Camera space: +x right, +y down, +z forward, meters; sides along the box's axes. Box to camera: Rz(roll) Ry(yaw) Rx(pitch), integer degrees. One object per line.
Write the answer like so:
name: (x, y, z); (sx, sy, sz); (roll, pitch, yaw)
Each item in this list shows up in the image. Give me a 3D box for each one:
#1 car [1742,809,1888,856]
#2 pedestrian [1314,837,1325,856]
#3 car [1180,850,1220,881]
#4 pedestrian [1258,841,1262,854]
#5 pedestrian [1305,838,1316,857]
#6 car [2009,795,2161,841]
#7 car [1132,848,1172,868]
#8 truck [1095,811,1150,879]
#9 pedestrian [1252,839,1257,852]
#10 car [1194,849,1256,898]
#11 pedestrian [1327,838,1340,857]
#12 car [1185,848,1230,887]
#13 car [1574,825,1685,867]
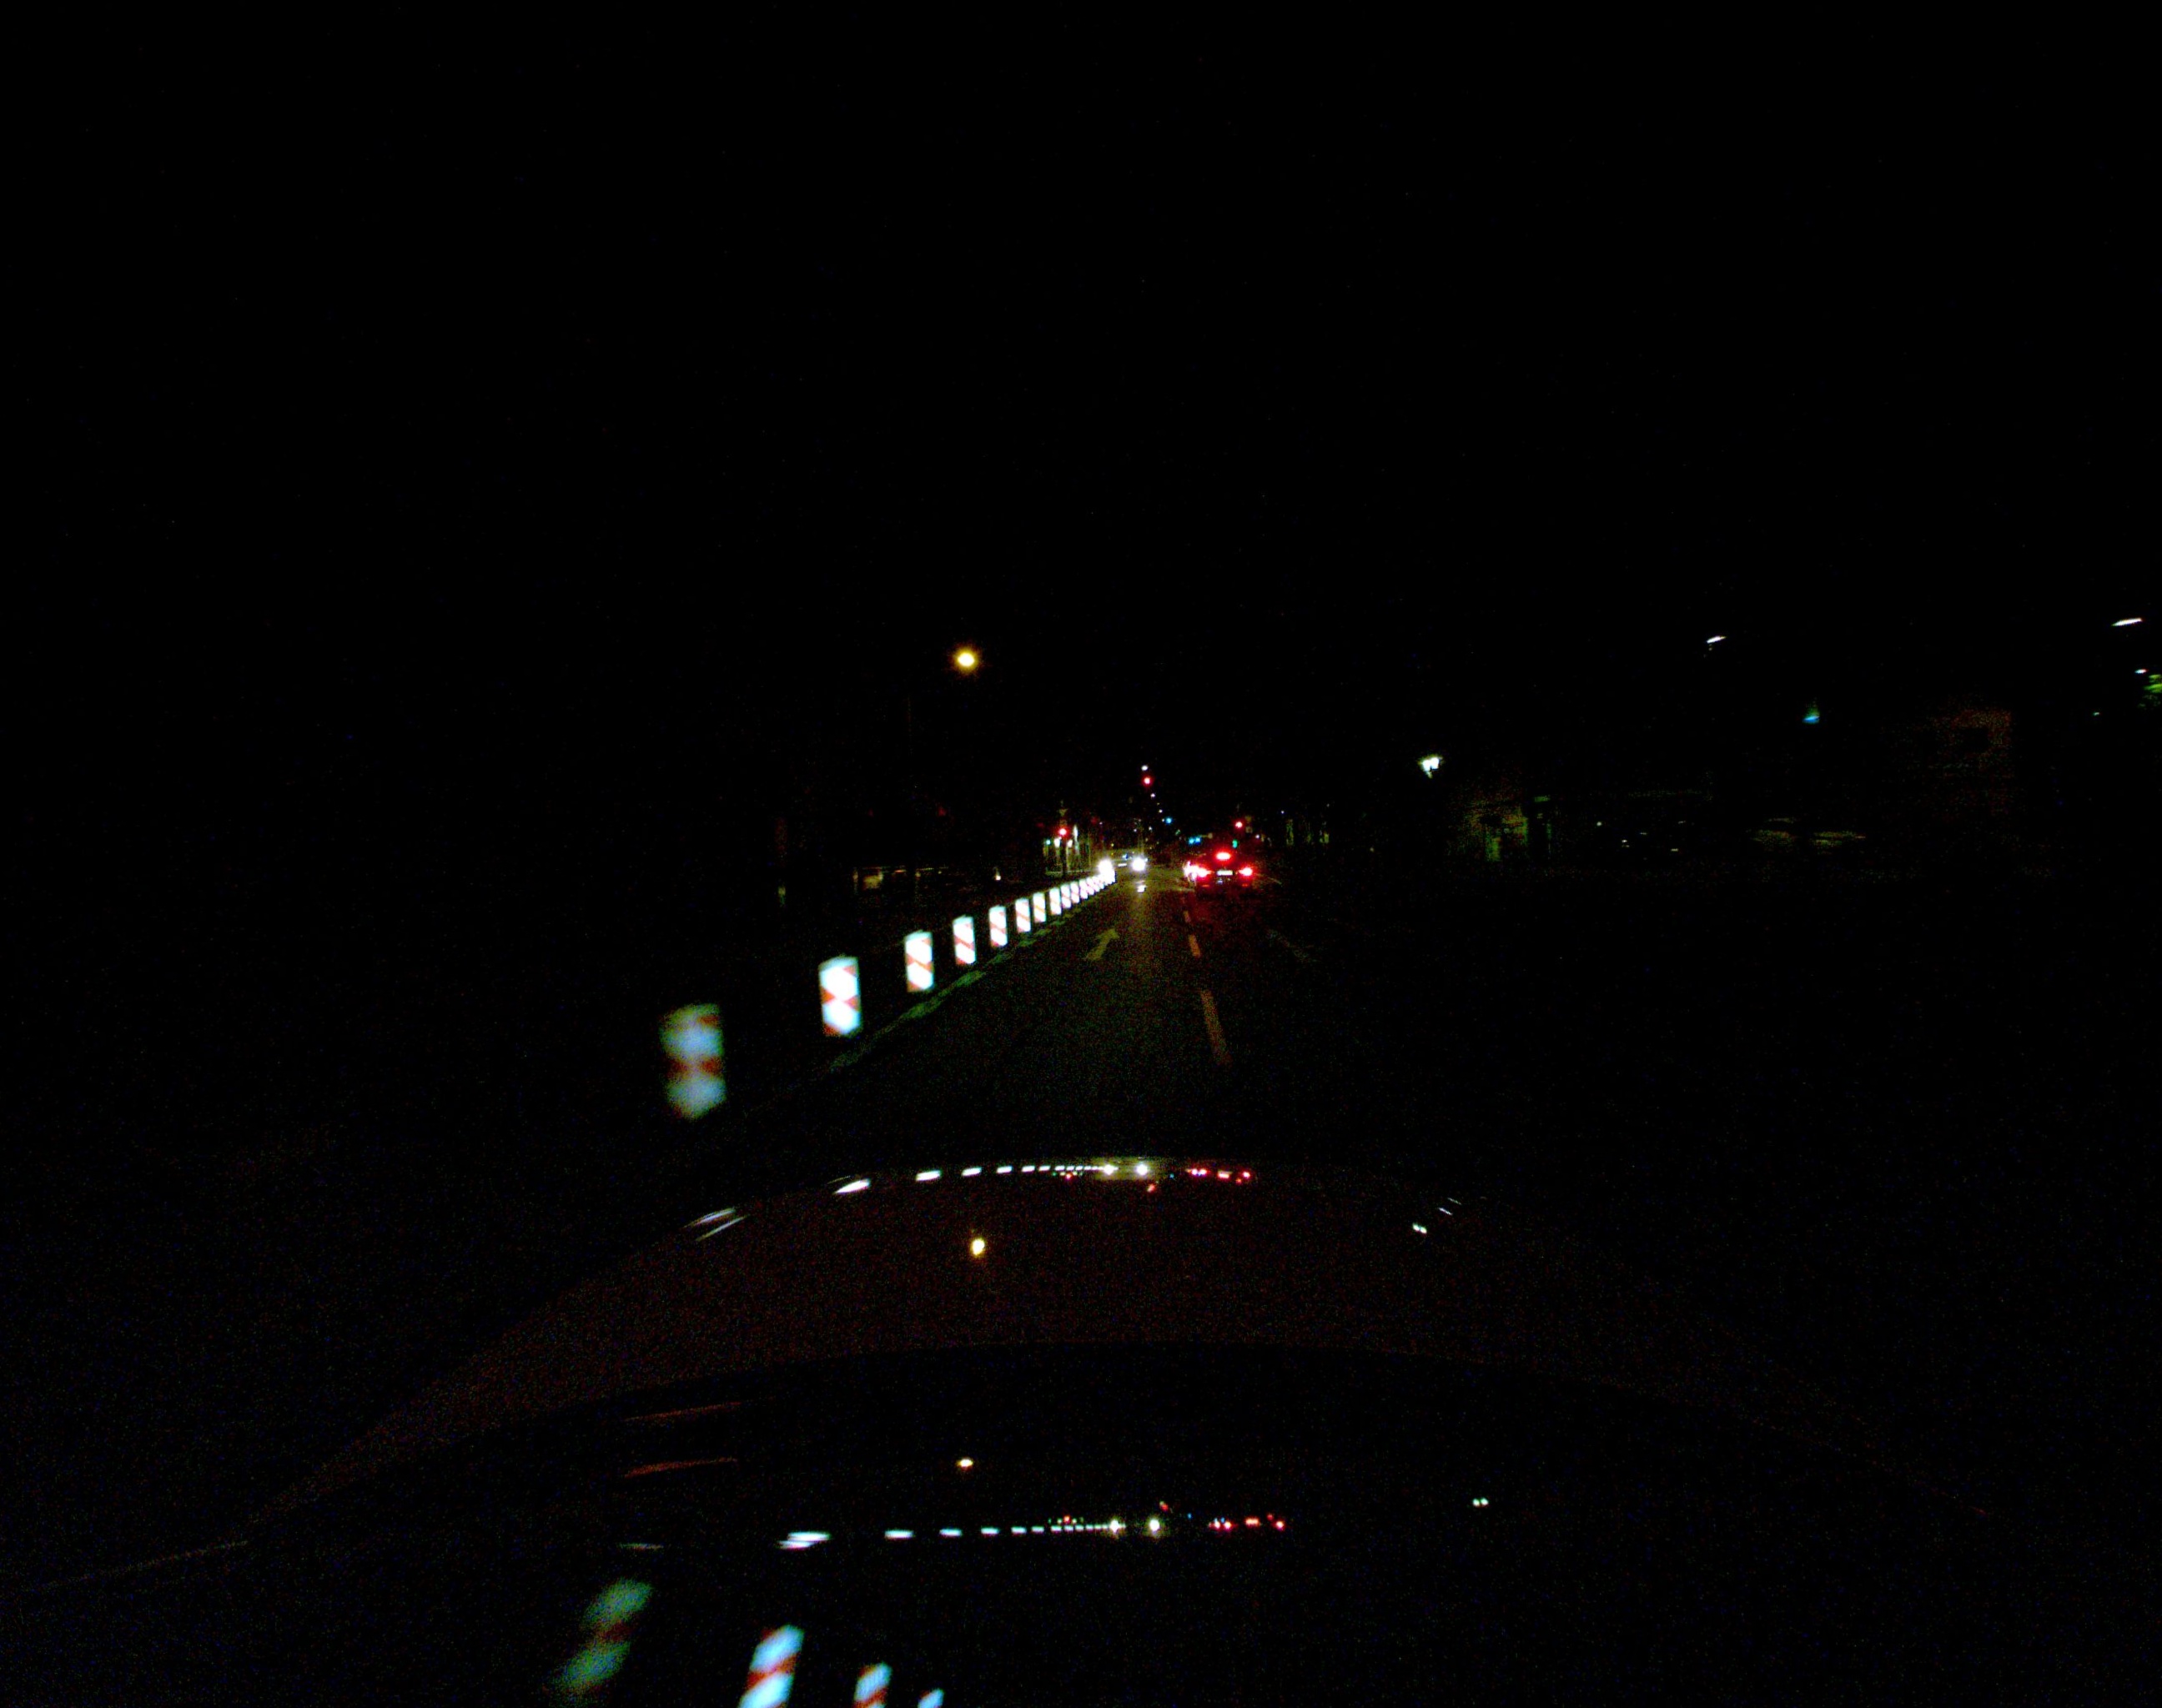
car: (26.843, -0.738, 29.965); (1.775, 1.533, 4.002); (-3, 0, 2)
pedestrian: (22.358, -0.712, 76.349); (0.735, 1.769, 0.908); (-4, 0, 6)
car: (5.890, 0.527, 40.751); (1.721, 1.435, 4.216); (-1, 0, 5)
pedestrian: (29.829, -1.077, 135.576); (0.485, 2.013, 0.551); (-3, 0, 5)
pedestrian: (21.559, -0.611, 76.533); (0.710, 1.769, 0.908); (-4, 0, 6)
car: (36.371, -1.271, 28.990); (1.984, 1.428, 4.247); (-3, 0, 5)
car: (6.541, 0.354, 74.660); (1.974, 1.640, 4.025); (-3, 0, 30)
truck: (2.846, -0.555, 52.262); (2.741, 3.717, 10.130); (-4, 0, 6)
pedestrian: (28.871, -1.408, 135.546); (0.529, 2.013, 0.671); (-3, 0, 5)
car: (4.785, 0.594, 27.660); (1.795, 1.494, 4.739); (-1, 0, 7)
pedestrian: (23.734, -0.616, 76.616); (0.896, 1.769, 0.908); (-4, 0, 6)
car: (5.218, 0.509, 33.982); (1.629, 1.494, 4.007); (-1, 0, 6)
car: (20.720, -0.290, 31.004); (1.505, 1.395, 4.489); (-3, 0, 6)
